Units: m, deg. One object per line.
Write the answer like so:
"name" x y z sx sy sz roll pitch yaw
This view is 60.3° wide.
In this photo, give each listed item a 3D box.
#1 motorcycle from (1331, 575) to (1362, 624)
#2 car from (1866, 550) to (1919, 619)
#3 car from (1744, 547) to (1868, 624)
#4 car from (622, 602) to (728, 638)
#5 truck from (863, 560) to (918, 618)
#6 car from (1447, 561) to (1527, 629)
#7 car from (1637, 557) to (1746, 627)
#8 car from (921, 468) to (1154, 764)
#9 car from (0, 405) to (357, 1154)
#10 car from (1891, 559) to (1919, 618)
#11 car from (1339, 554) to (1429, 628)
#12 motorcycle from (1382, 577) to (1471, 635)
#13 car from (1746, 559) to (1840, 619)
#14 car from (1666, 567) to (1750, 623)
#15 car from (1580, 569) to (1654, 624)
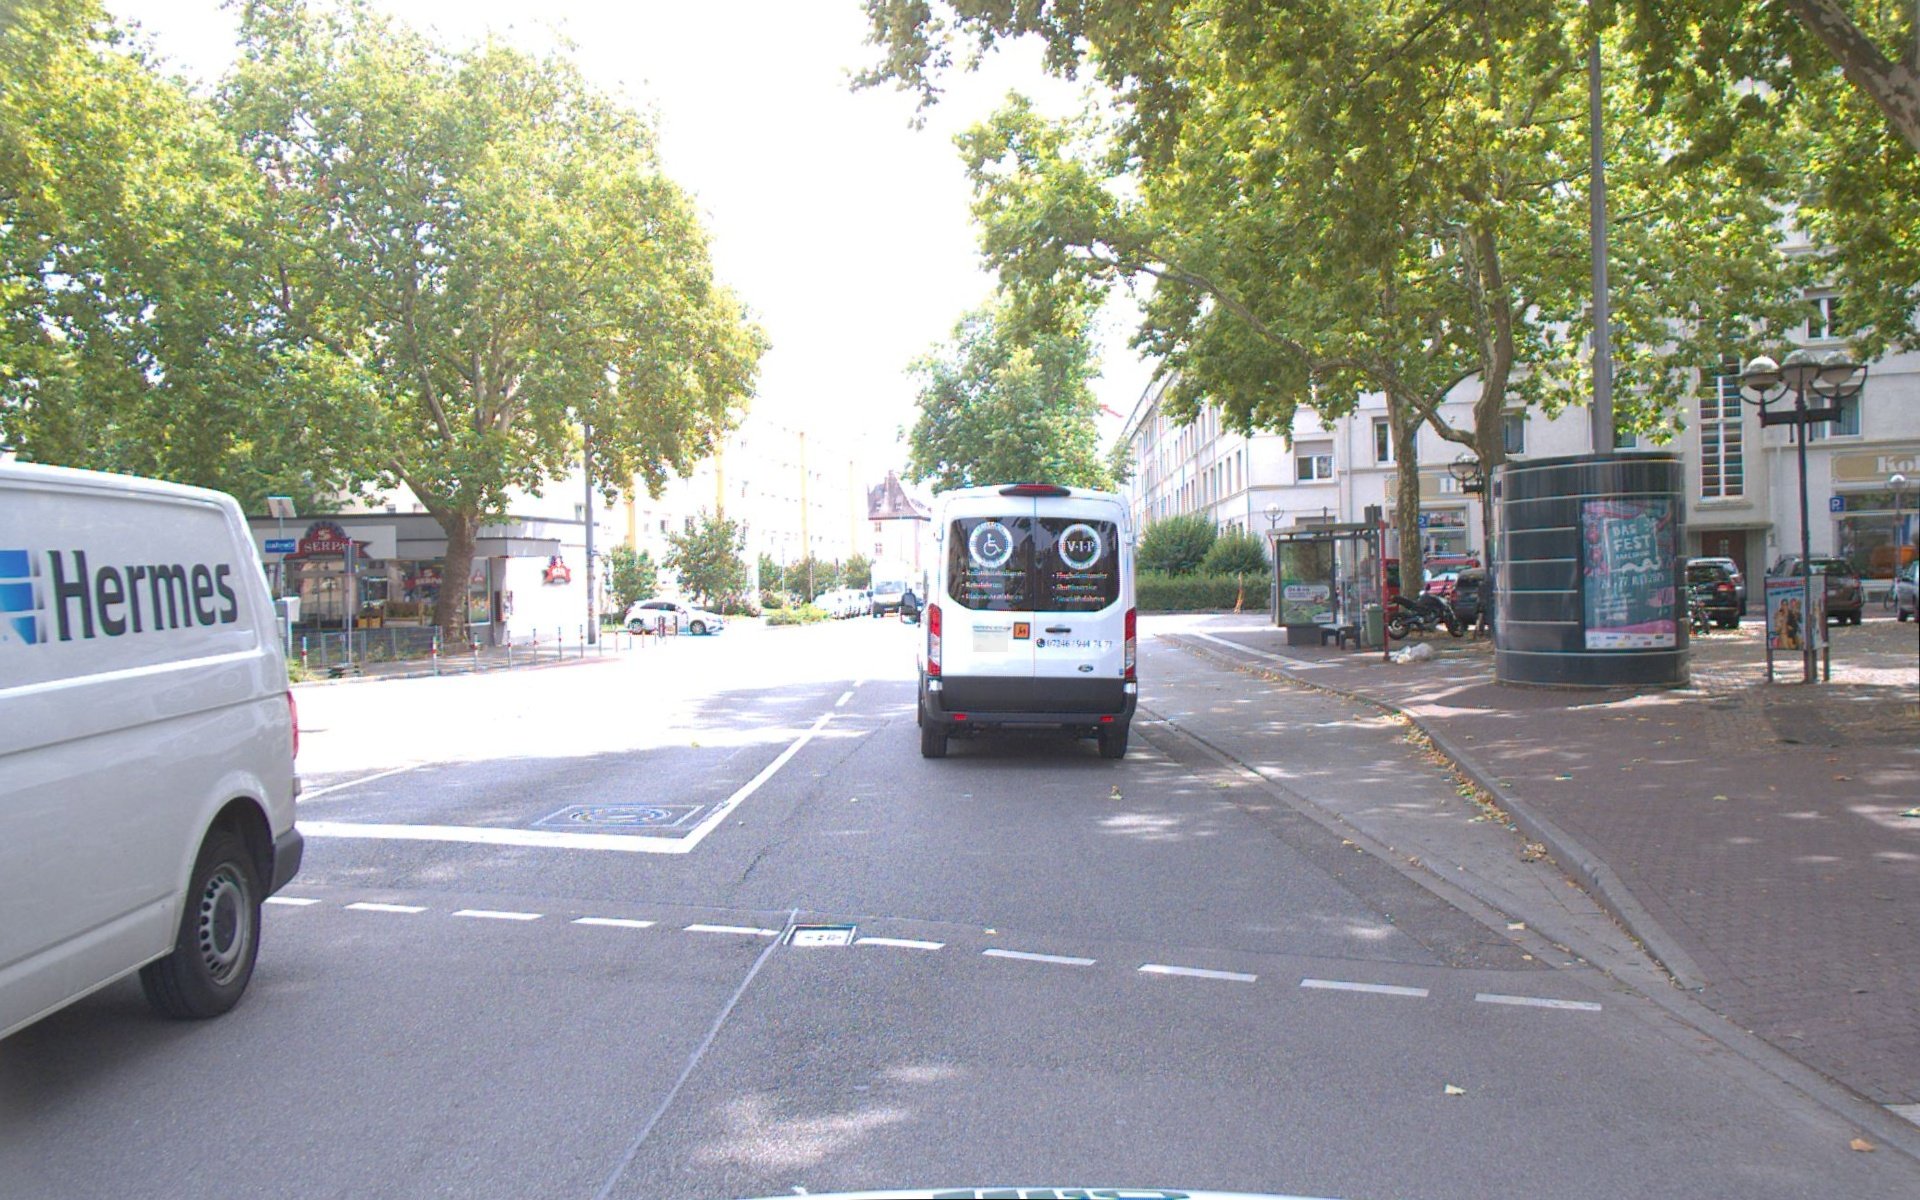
"motorcycle" 12.404 -0.031 53.120 0.814 1.487 2.308 -2 1 10
"car" 22.133 -0.390 37.631 1.952 1.489 4.002 -2 0 19
"car" 19.622 -0.344 38.540 1.952 1.627 4.002 -2 0 19
"car" -12.151 0.848 70.667 4.084 1.476 1.850 1 -1 4
"truck" -4.077 -0.651 98.426 2.489 3.161 7.022 -4 0 2
"car" 13.411 -0.152 41.986 1.789 1.579 4.002 -2 0 19
"car" 17.086 -0.210 38.801 1.952 1.489 4.002 -2 0 19
"car" 0.733 0.135 16.949 2.027 2.585 4.635 1 0 1
"car" -3.480 0.481 4.584 1.885 1.970 4.946 -1 1 -2
"car" 28.074 -0.375 47.175 1.952 1.618 4.196 -2 0 20
"car" 10.884 -0.240 42.271 1.892 1.735 4.333 -2 0 18
"motorcycle" 10.447 0.130 37.072 1.817 1.244 0.530 -2 1 -4
"car" 23.864 -0.331 47.499 1.952 1.618 4.195 -2 0 21
"car" 21.928 -0.164 48.621 1.952 1.513 4.195 -2 0 21
"car" 19.649 -0.124 49.538 1.952 1.530 4.195 -2 0 21
